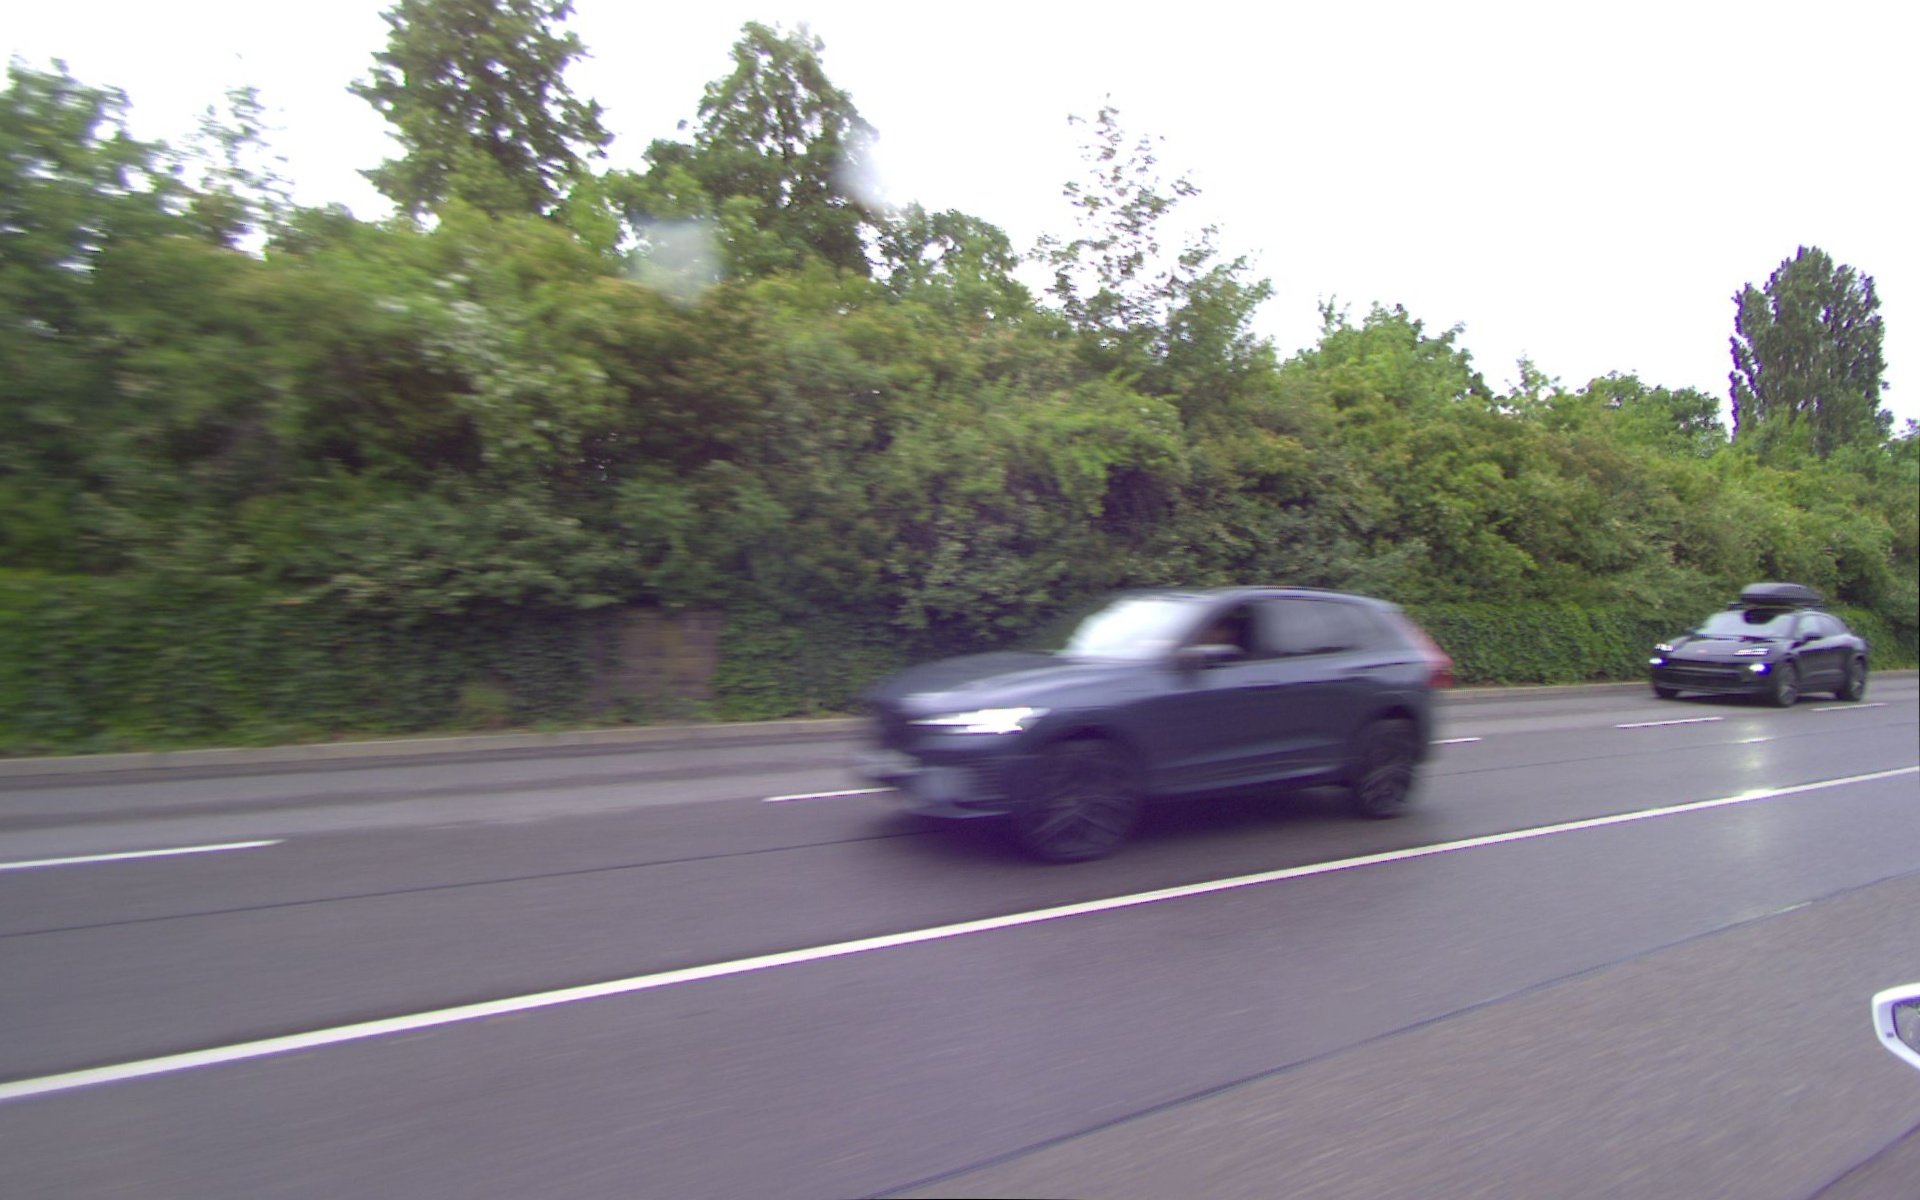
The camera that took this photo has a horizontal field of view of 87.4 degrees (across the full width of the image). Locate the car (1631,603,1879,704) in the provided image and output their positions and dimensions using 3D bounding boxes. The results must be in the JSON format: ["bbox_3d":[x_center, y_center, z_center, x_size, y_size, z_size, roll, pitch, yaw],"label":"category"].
[{"bbox_3d":[14.333,0.915,18.058,4.574,1.573,1.890,1,1,-29],"label":"car"}]

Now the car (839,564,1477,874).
[{"bbox_3d":[1.569,0.683,7.383,4.541,1.680,1.803,1,0,-30],"label":"car"}]
